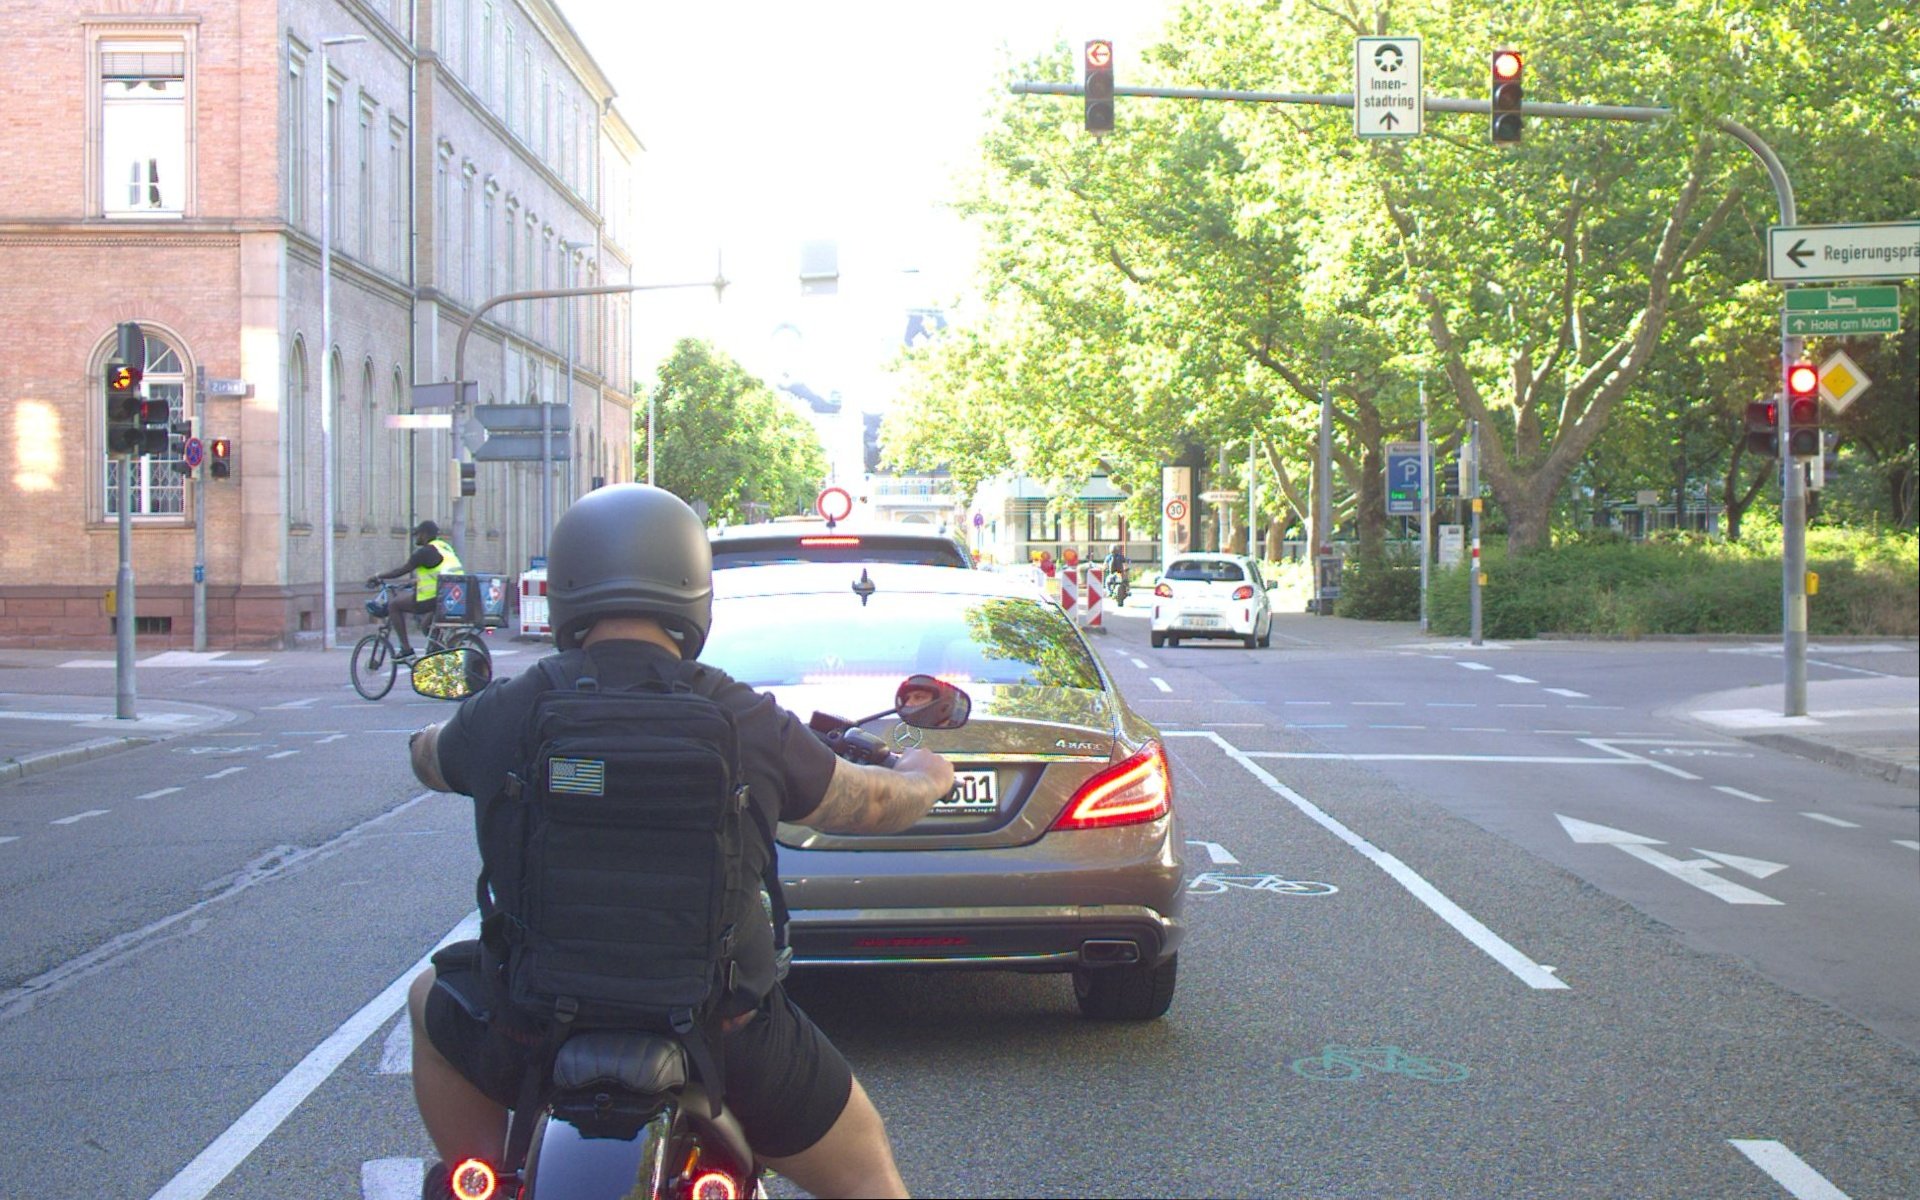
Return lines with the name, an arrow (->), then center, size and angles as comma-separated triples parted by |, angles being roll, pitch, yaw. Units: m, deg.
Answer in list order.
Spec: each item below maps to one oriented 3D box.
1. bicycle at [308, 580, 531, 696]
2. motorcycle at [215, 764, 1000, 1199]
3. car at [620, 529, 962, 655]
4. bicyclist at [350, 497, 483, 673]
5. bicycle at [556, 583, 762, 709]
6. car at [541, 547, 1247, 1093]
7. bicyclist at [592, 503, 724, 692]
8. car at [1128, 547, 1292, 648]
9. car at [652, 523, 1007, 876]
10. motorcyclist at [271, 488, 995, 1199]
bicycle -> -5.288, 0.370, 33.584 | 2.160, 1.099, 0.704 | -1, 0, 29
motorcycle -> -0.458, 0.885, 5.572 | 0.989, 1.075, 2.452 | 0, 1, -1
car -> -2.142, -0.116, 43.552 | 3.895, 1.475, 1.828 | -2, 1, -24
bicyclist -> -5.306, -0.147, 33.584 | 1.046, 1.689, 0.704 | -1, 0, 30
bicycle -> -2.749, 0.402, 31.269 | 1.877, 1.099, 0.704 | 1, 1, 37
car -> -0.434, 0.563, 11.608 | 1.945, 1.468, 4.363 | 0, 1, -7
bicyclist -> -2.748, -0.029, 31.265 | 0.964, 1.687, 0.704 | 0, 1, 36
car -> 3.930, -0.053, 53.460 | 1.857, 1.481, 3.906 | 1, 1, 14
car -> -0.640, 0.412, 17.773 | 1.612, 1.602, 4.329 | 0, 1, -1
motorcyclist -> -0.454, 0.629, 5.413 | 0.989, 1.591, 1.404 | 0, 1, -1
